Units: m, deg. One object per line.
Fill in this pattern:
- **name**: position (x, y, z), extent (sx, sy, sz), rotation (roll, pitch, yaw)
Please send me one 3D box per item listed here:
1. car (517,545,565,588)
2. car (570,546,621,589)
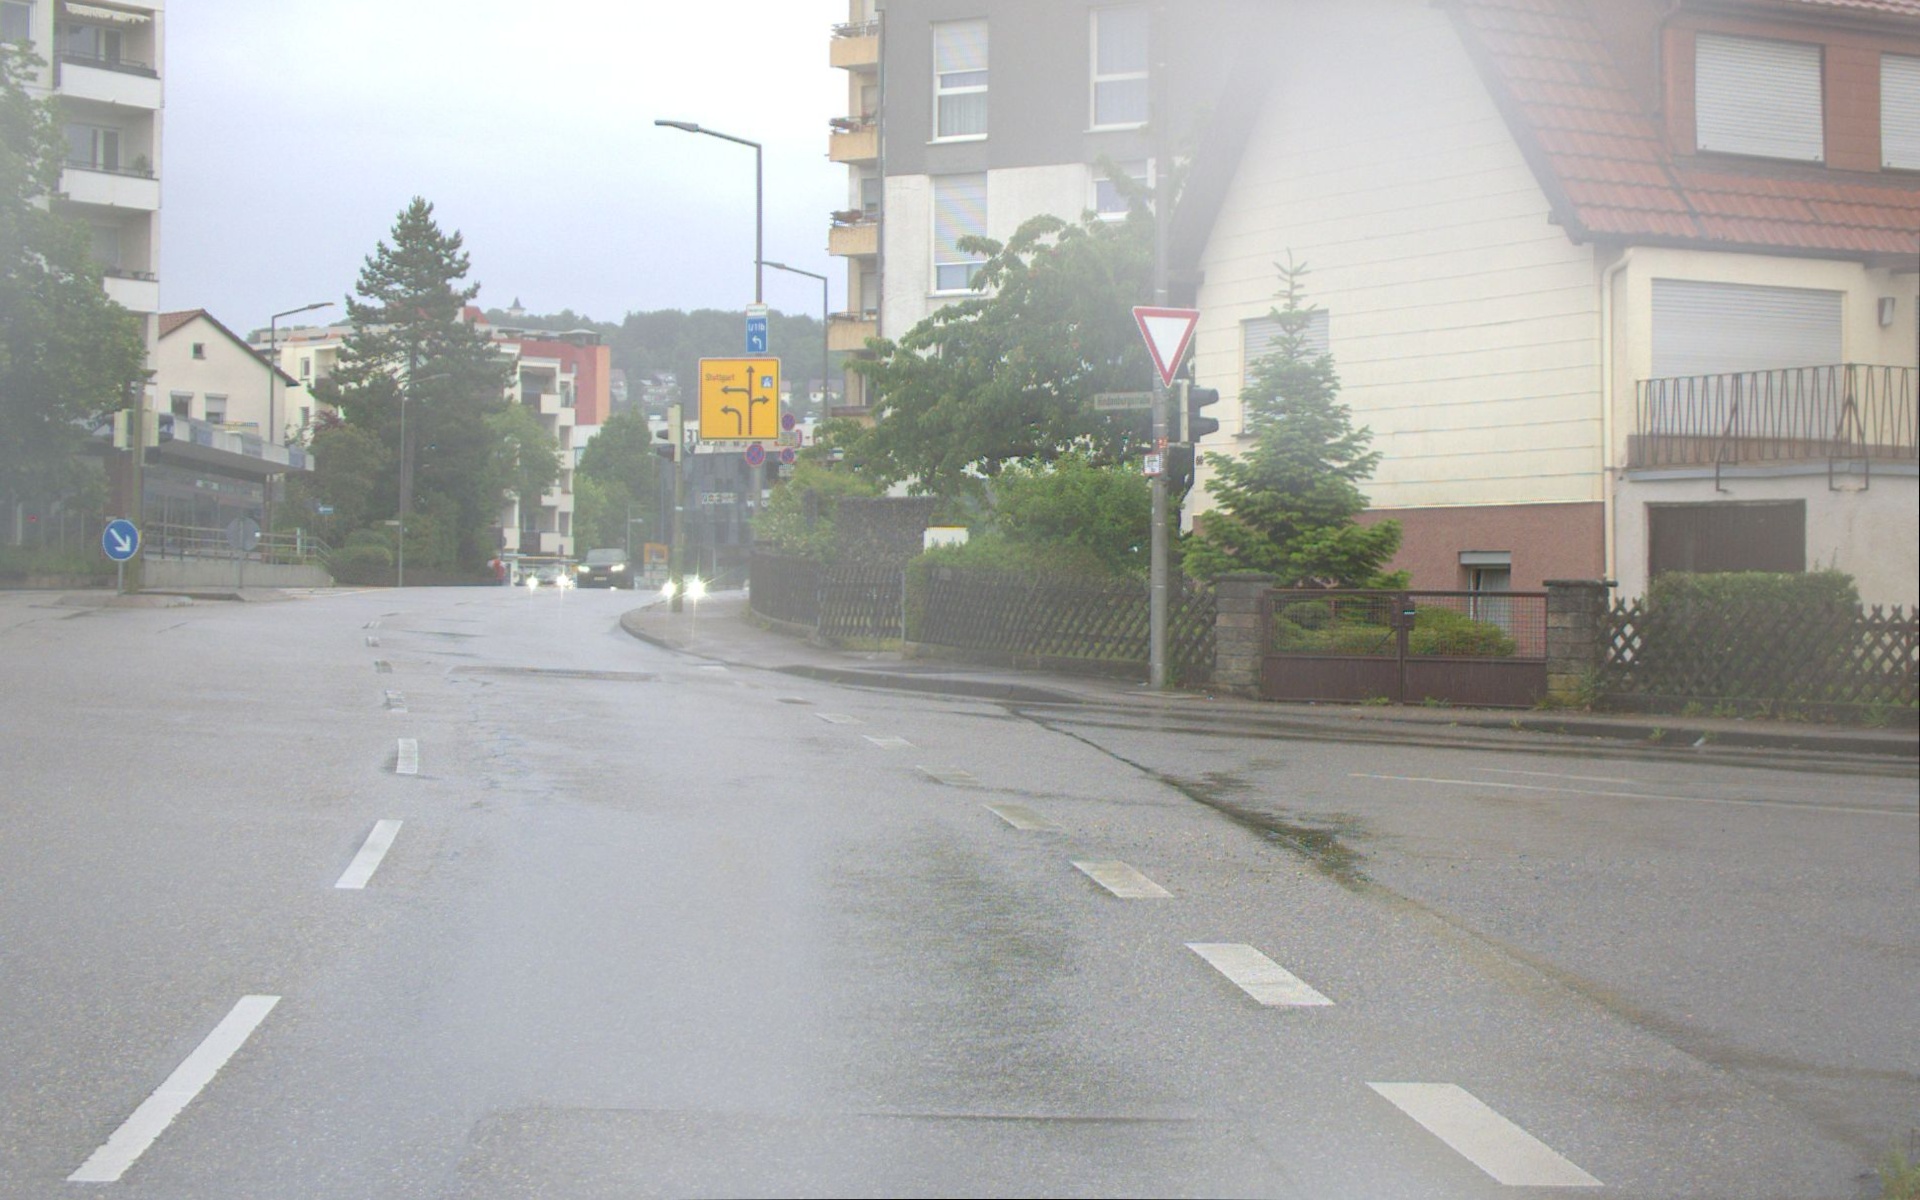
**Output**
- **car**: position (-18.774, -1.513, 154.249), extent (1.993, 1.897, 4.001), rotation (1, 1, -5)
- **car**: position (-15.207, -1.358, 143.280), extent (1.993, 1.731, 5.182), rotation (1, 1, -7)
